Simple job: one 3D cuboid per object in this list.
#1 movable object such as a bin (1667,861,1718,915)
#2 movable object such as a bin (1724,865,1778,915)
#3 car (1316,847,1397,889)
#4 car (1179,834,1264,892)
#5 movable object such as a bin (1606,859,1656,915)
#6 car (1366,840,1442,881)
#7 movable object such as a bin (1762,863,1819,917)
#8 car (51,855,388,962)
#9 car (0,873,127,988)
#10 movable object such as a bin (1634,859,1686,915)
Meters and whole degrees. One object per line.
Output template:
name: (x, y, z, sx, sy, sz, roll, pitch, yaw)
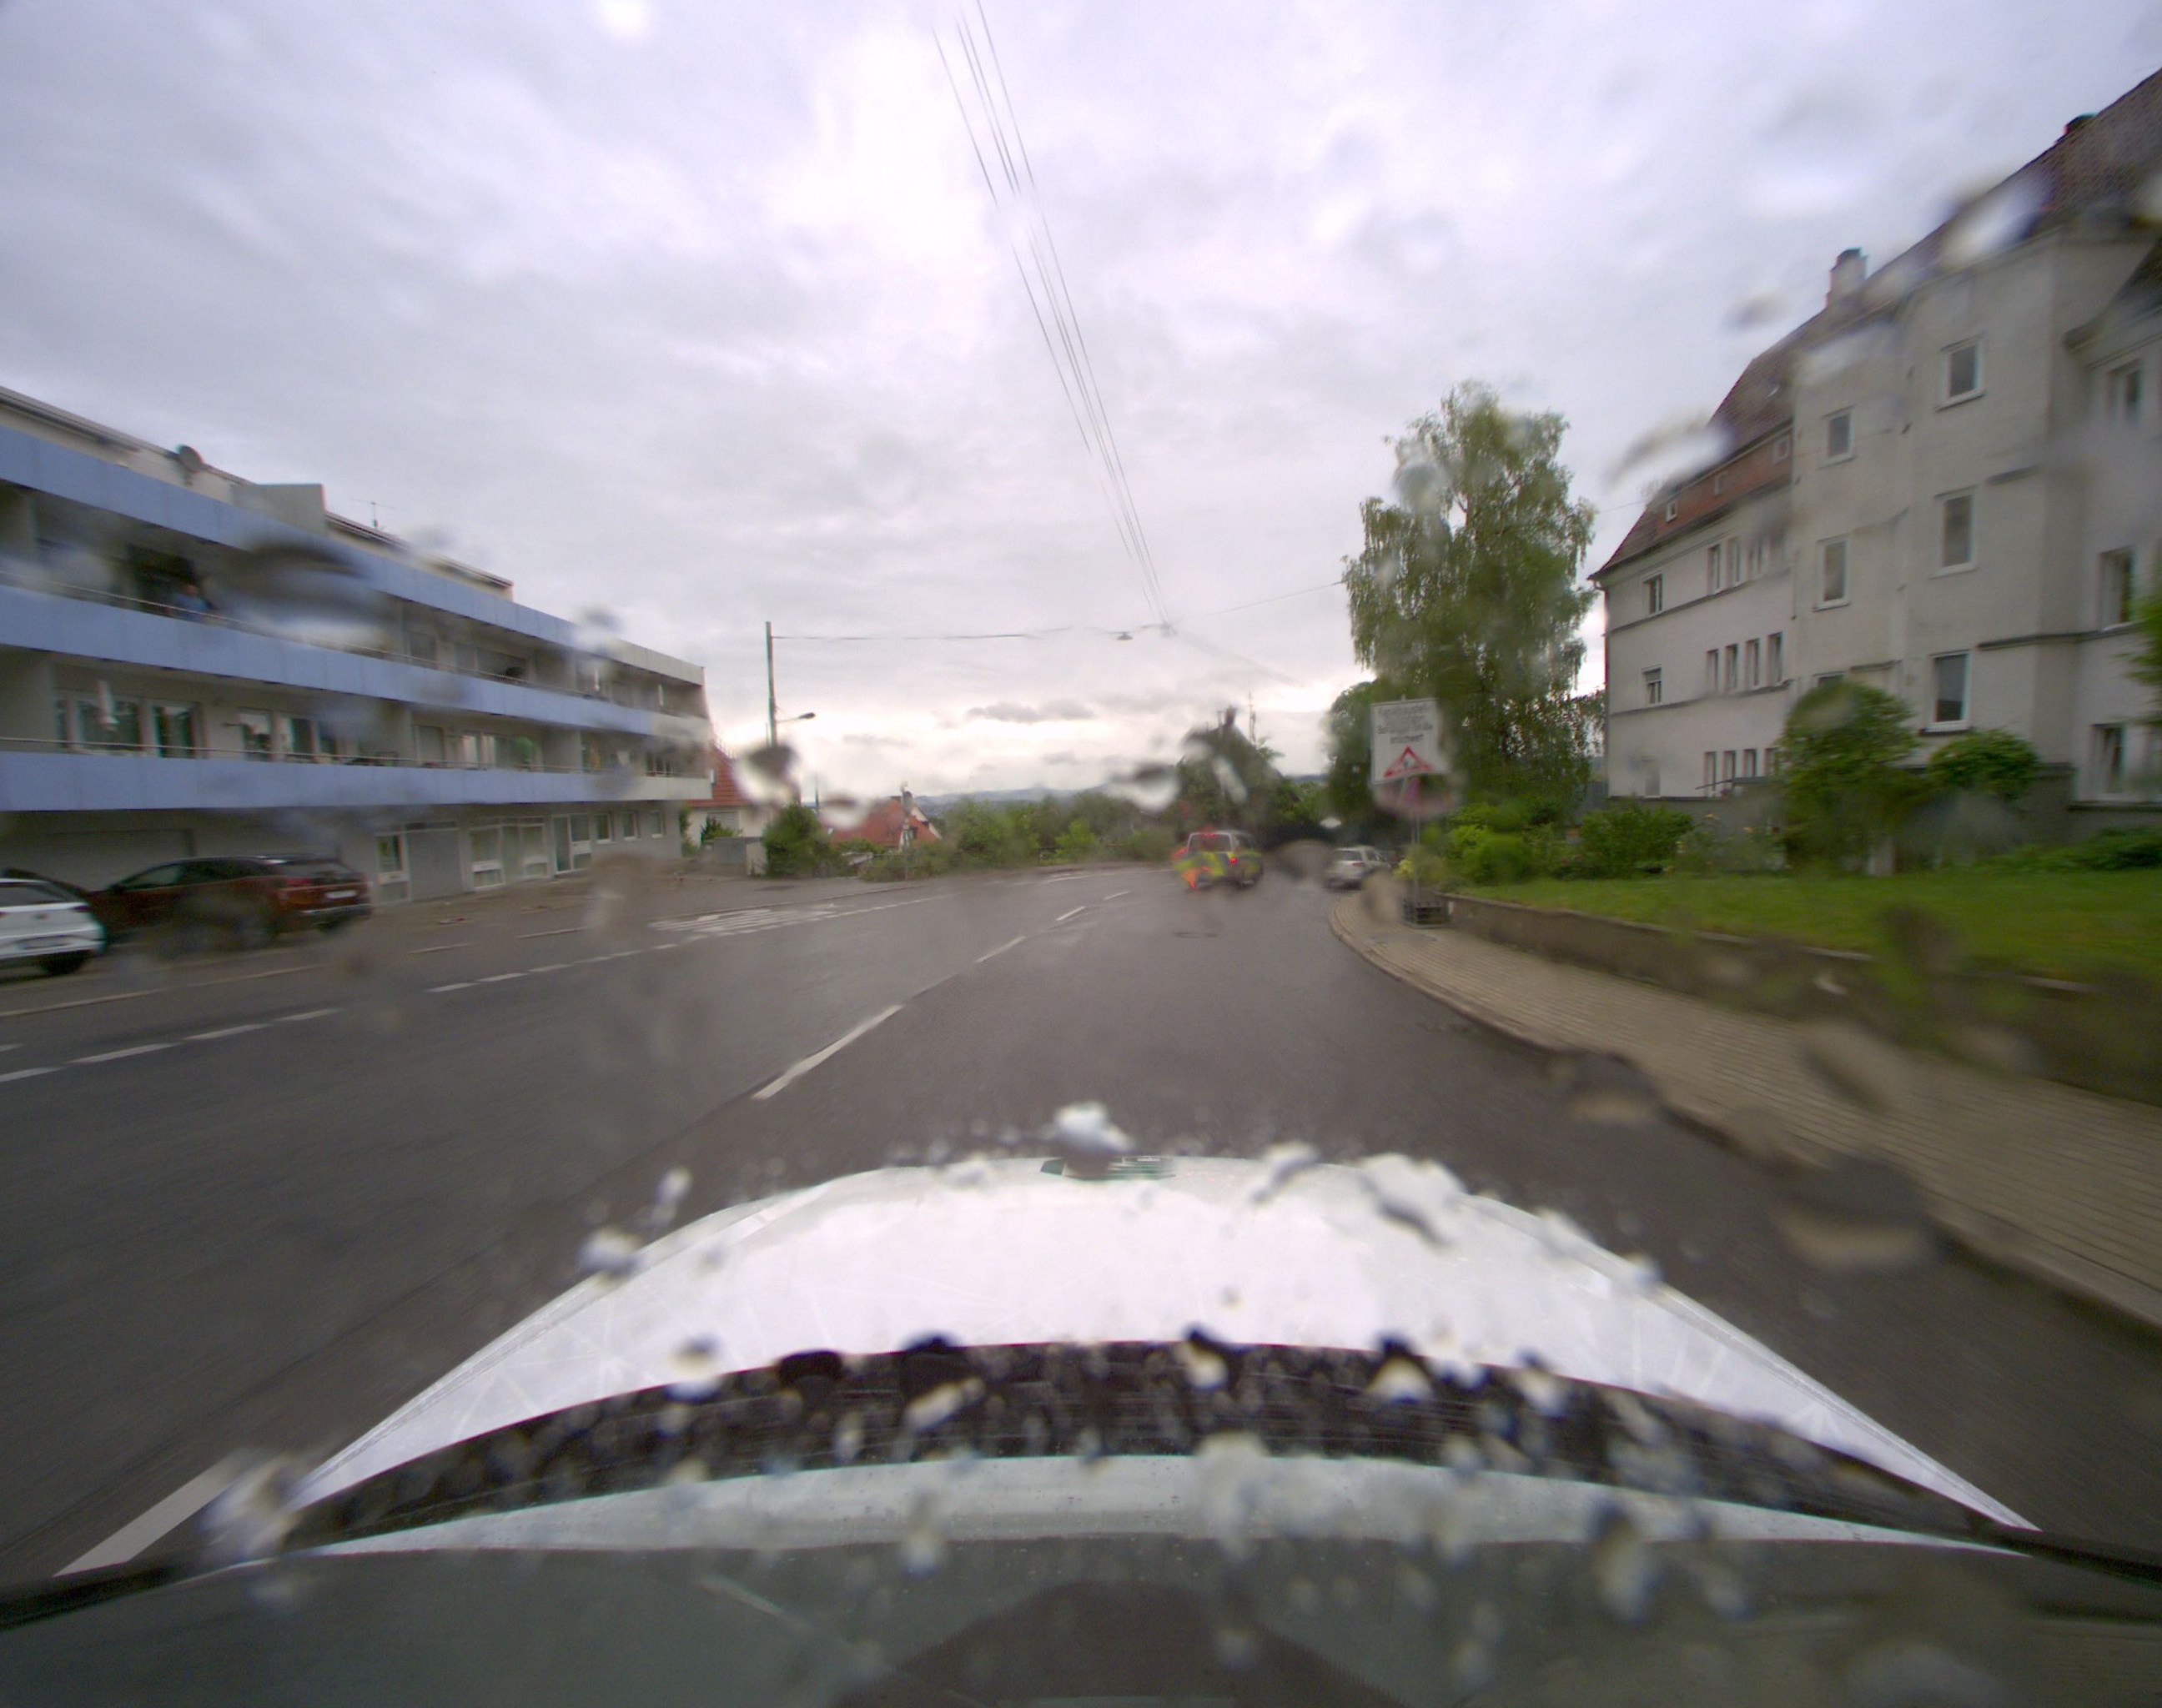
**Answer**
movable object such as a bin: (11.415, 0.629, 15.212, 0.480, 0.970, 0.691, -1, 0, 8)
movable object such as a bin: (12.447, 0.665, 15.147, 0.480, 0.898, 0.691, -1, 0, 8)
car: (10.362, 0.480, 30.455, 1.772, 1.446, 4.132, -1, 1, 34)
car: (5.115, 0.282, 29.122, 1.976, 1.893, 4.596, -1, 0, 23)
movable object such as a bin: (10.311, 0.610, 15.290, 0.527, 1.013, 0.691, -1, 0, 8)
car: (13.900, 0.240, 34.891, 1.609, 1.519, 4.354, -1, 2, 42)
movable object such as a bin: (13.001, 0.646, 14.936, 0.480, 0.943, 0.691, -1, 0, 8)
car: (-15.061, 0.905, 14.429, 3.914, 1.550, 1.714, -3, 0, -3)
car: (-15.700, 1.119, 11.022, 3.420, 1.445, 1.708, -4, 0, -1)
movable object such as a bin: (10.903, 0.605, 15.345, 0.527, 1.013, 0.691, -1, 0, 8)
